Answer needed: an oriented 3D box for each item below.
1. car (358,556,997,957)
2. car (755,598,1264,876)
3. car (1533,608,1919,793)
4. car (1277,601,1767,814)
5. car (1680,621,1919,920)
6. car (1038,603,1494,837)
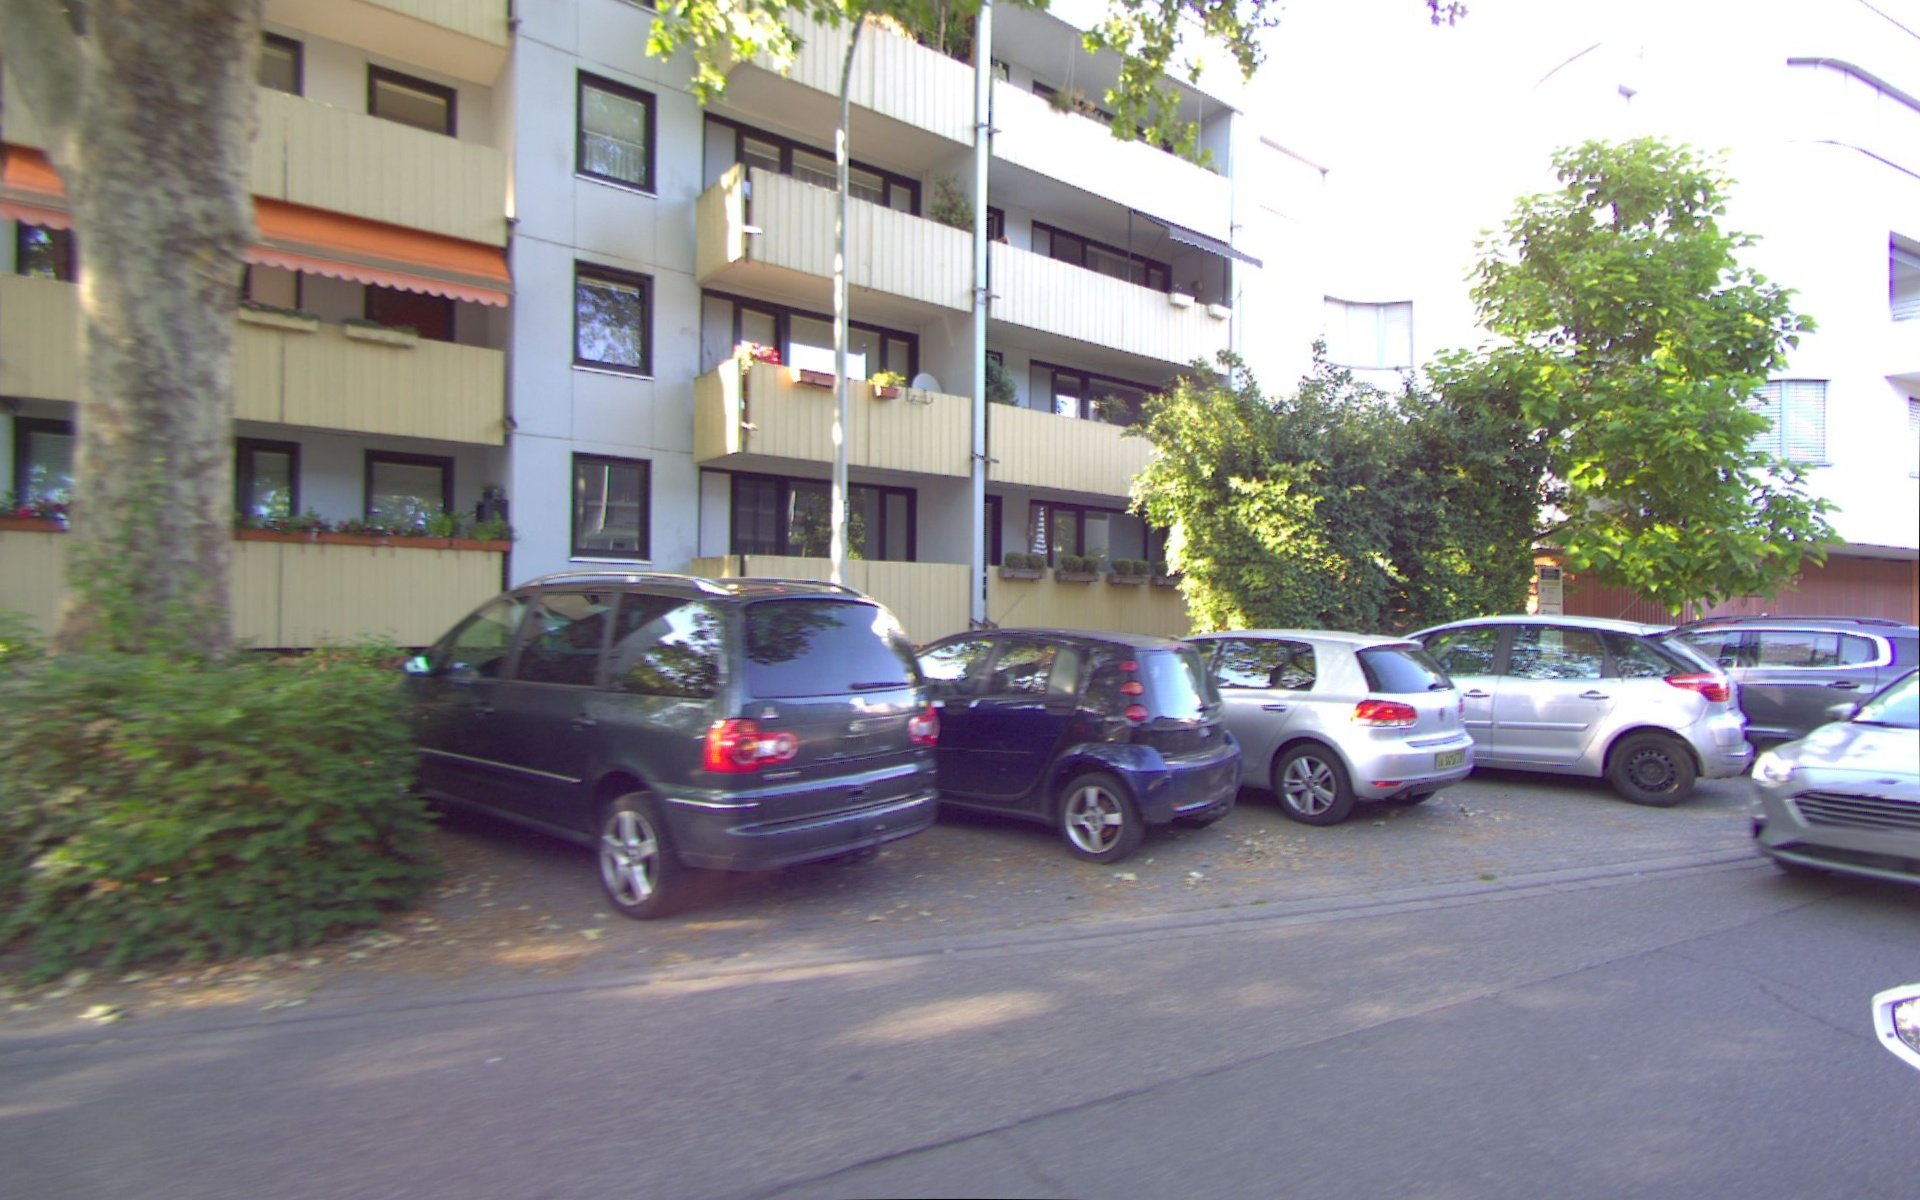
[{"bbox_3d":[-2.029,0.666,6.576,4.202,1.799,1.898,2,0,38],"label":"car"},{"bbox_3d":[0.290,0.839,7.806,3.590,1.581,1.694,2,0,36],"label":"car"},{"bbox_3d":[8.707,1.005,11.197,3.892,1.684,1.695,2,0,34],"label":"car"},{"bbox_3d":[5.593,0.913,10.314,4.073,1.662,1.770,2,0,37],"label":"car"},{"bbox_3d":[6.976,0.948,6.422,4.559,1.556,1.894,1,-3,-26],"label":"car"},{"bbox_3d":[2.586,0.888,9.124,1.686,1.581,3.607,2,0,-40],"label":"car"}]
